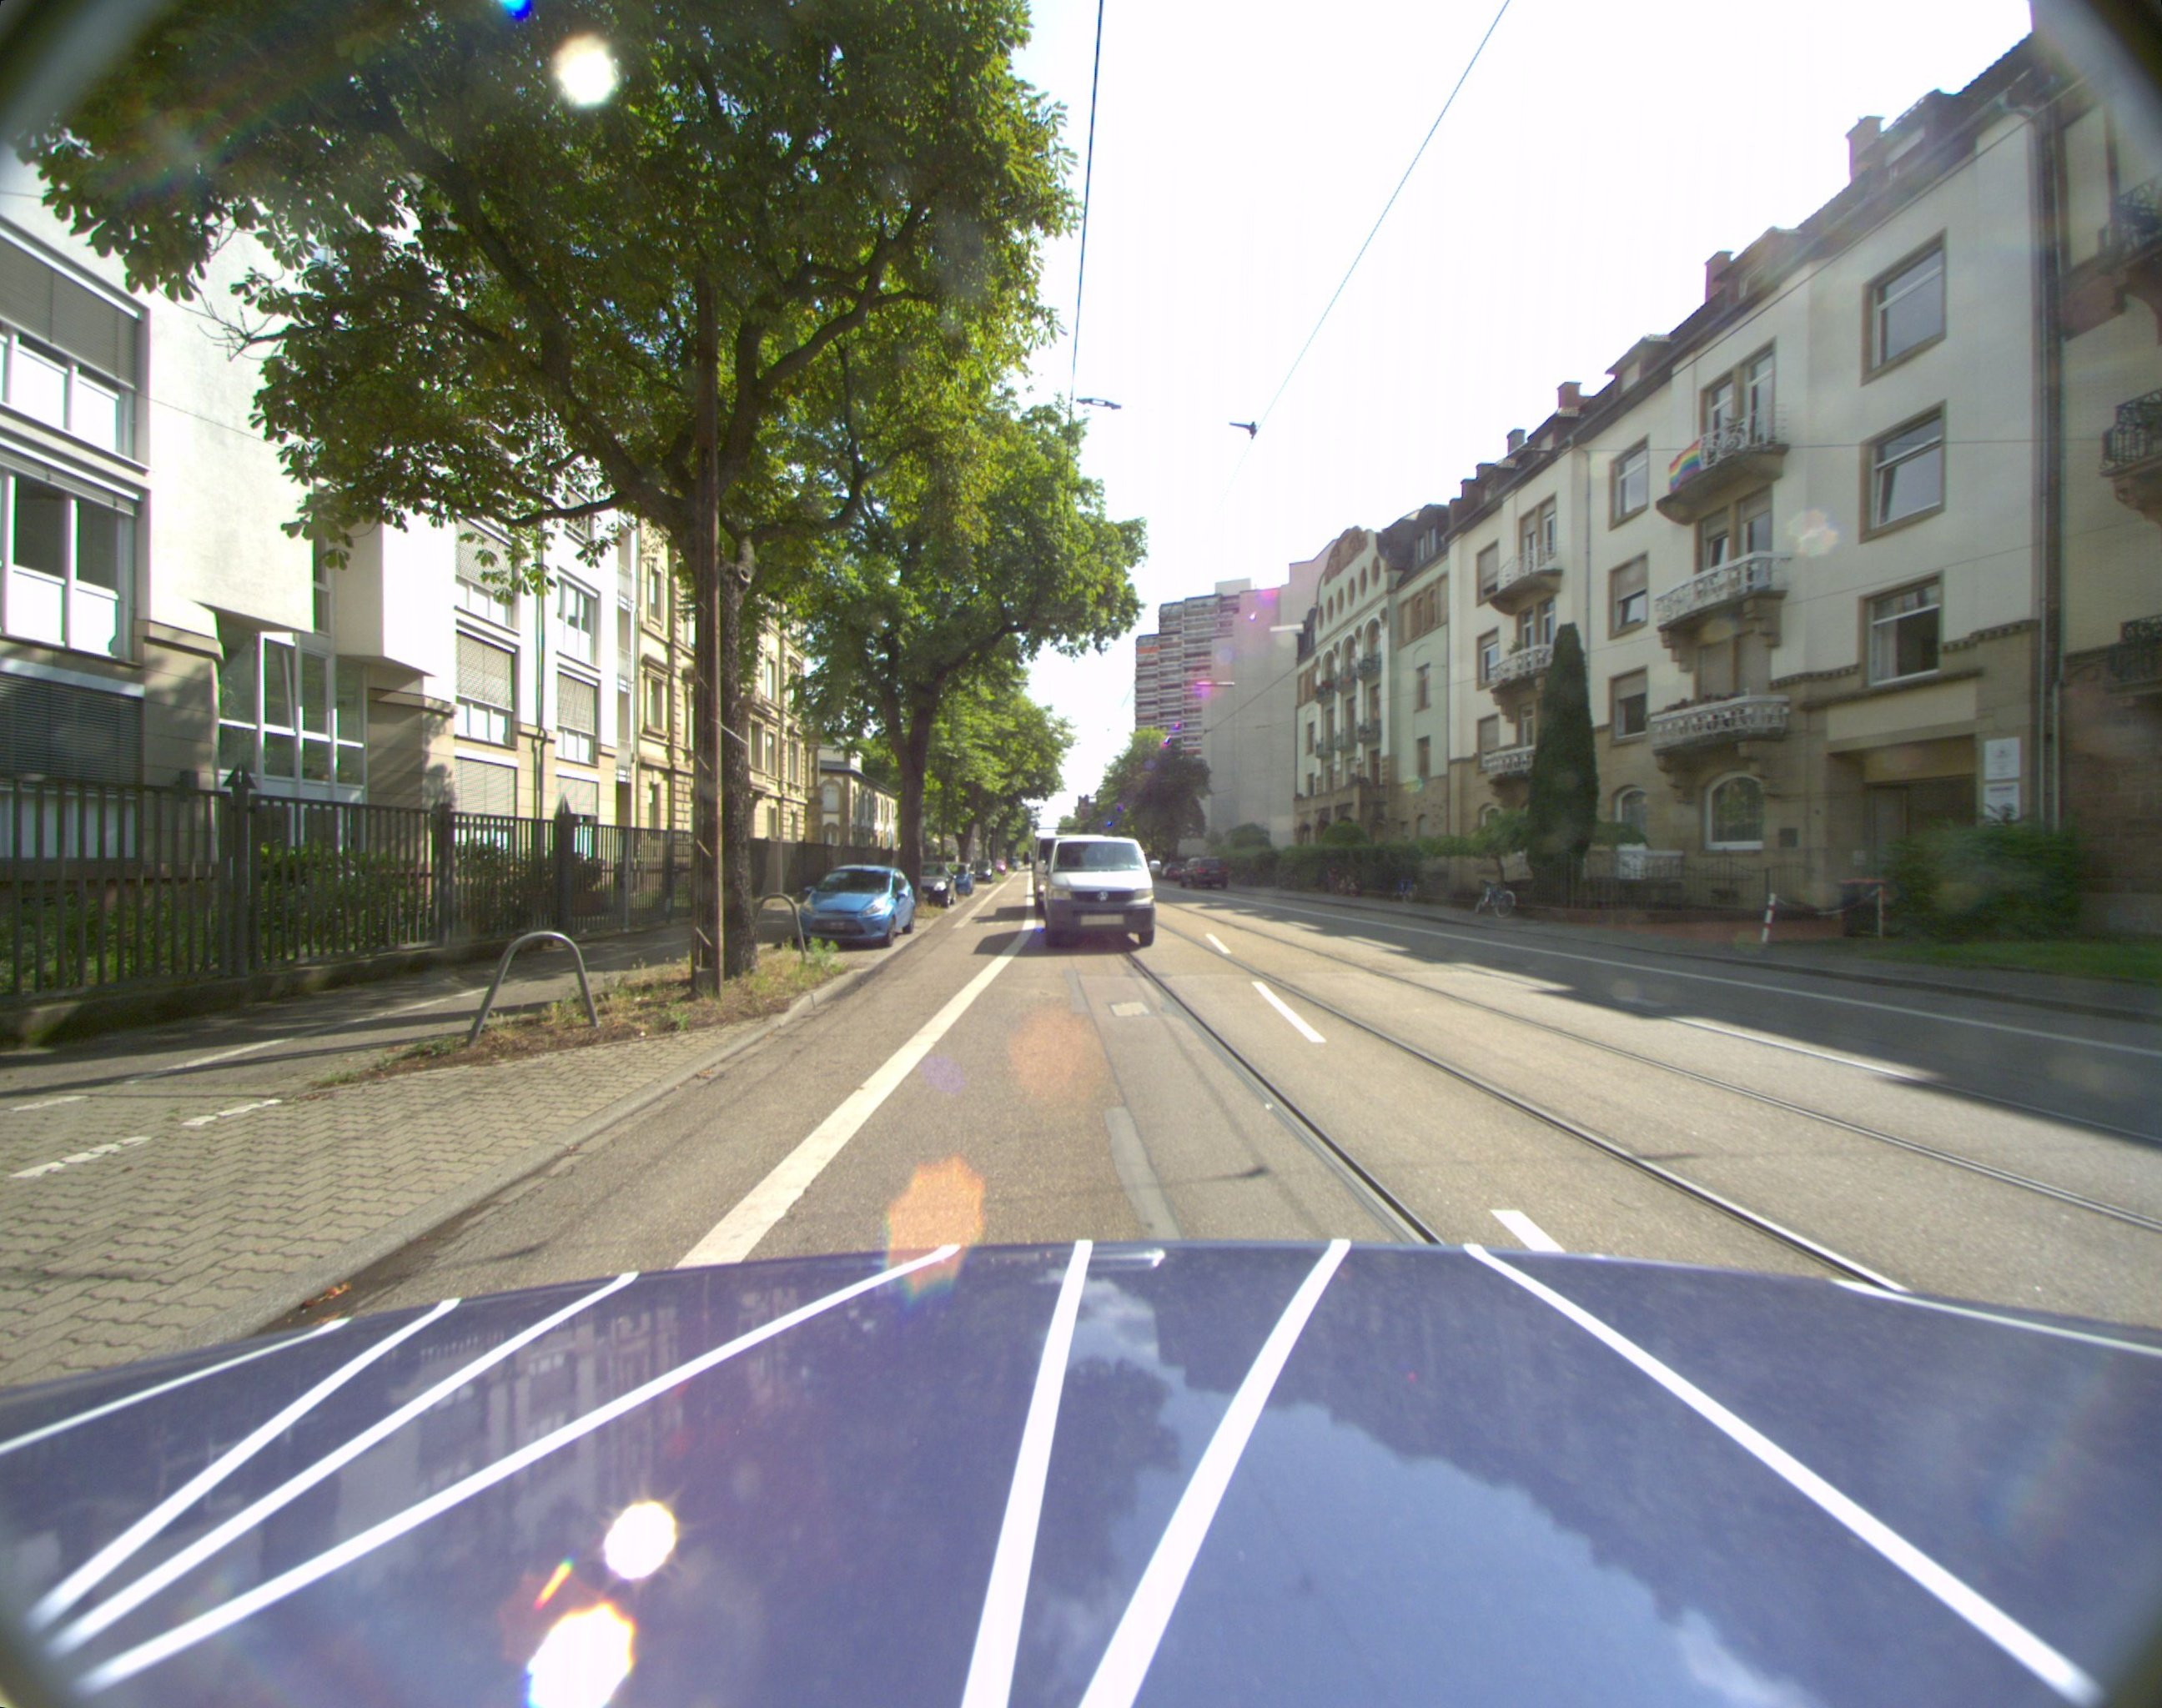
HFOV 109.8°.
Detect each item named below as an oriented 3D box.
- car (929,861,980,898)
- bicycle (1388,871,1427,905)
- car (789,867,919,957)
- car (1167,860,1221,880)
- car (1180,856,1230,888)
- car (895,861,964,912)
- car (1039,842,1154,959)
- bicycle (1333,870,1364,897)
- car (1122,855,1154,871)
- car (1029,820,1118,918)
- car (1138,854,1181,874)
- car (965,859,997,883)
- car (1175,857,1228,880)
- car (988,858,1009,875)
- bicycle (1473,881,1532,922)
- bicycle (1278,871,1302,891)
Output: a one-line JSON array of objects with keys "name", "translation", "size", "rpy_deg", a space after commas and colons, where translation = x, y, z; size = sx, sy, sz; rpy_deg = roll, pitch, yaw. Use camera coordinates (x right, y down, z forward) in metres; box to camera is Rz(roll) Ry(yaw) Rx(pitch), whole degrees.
[{"name": "car", "translation": [-5.499, 1.057, 33.371], "size": [1.724, 1.443, 3.925], "rpy_deg": [2, 0, -3]}, {"name": "bicycle", "translation": [10.880, 1.106, 25.363], "size": [0.539, 1.024, 1.873], "rpy_deg": [0, 1, 1]}, {"name": "car", "translation": [-4.308, 1.044, 14.976], "size": [1.642, 1.446, 3.697], "rpy_deg": [2, 0, -4]}, {"name": "car", "translation": [8.686, 1.215, 58.640], "size": [3.890, 1.527, 1.634], "rpy_deg": [0, 0, -2]}, {"name": "car", "translation": [6.879, 0.984, 42.642], "size": [1.797, 1.701, 4.330], "rpy_deg": [0, 0, -4]}, {"name": "car", "translation": [-4.963, 1.017, 25.260], "size": [1.644, 1.499, 3.622], "rpy_deg": [2, 0, -2]}, {"name": "car", "translation": [0.302, 0.756, 14.682], "size": [1.831, 1.855, 4.846], "rpy_deg": [-1, 0, 1]}, {"name": "bicycle", "translation": [10.504, 1.150, 29.849], "size": [0.587, 0.980, 1.873], "rpy_deg": [0, 1, 1]}, {"name": "car", "translation": [6.521, 1.033, 87.840], "size": [3.542, 1.733, 1.635], "rpy_deg": [0, 0, -1]}, {"name": "car", "translation": [-0.380, 0.406, 22.896], "size": [2.169, 2.572, 5.660], "rpy_deg": [0, 0, -6]}, {"name": "car", "translation": [7.733, 0.981, 74.863], "size": [3.997, 1.914, 1.831], "rpy_deg": [0, 0, -1]}, {"name": "car", "translation": [-6.842, 1.115, 52.233], "size": [1.774, 1.522, 4.199], "rpy_deg": [2, 0, -3]}, {"name": "car", "translation": [8.820, 1.042, 55.714], "size": [3.631, 1.630, 1.610], "rpy_deg": [0, 0, -3]}, {"name": "car", "translation": [-8.124, 1.223, 75.064], "size": [1.774, 1.563, 4.199], "rpy_deg": [2, 0, -3]}, {"name": "bicycle", "translation": [11.074, 1.217, 20.042], "size": [0.524, 0.901, 2.067], "rpy_deg": [0, 2, 4]}, {"name": "bicycle", "translation": [9.858, 1.263, 35.884], "size": [0.587, 0.792, 1.873], "rpy_deg": [-2, 1, 1]}]
